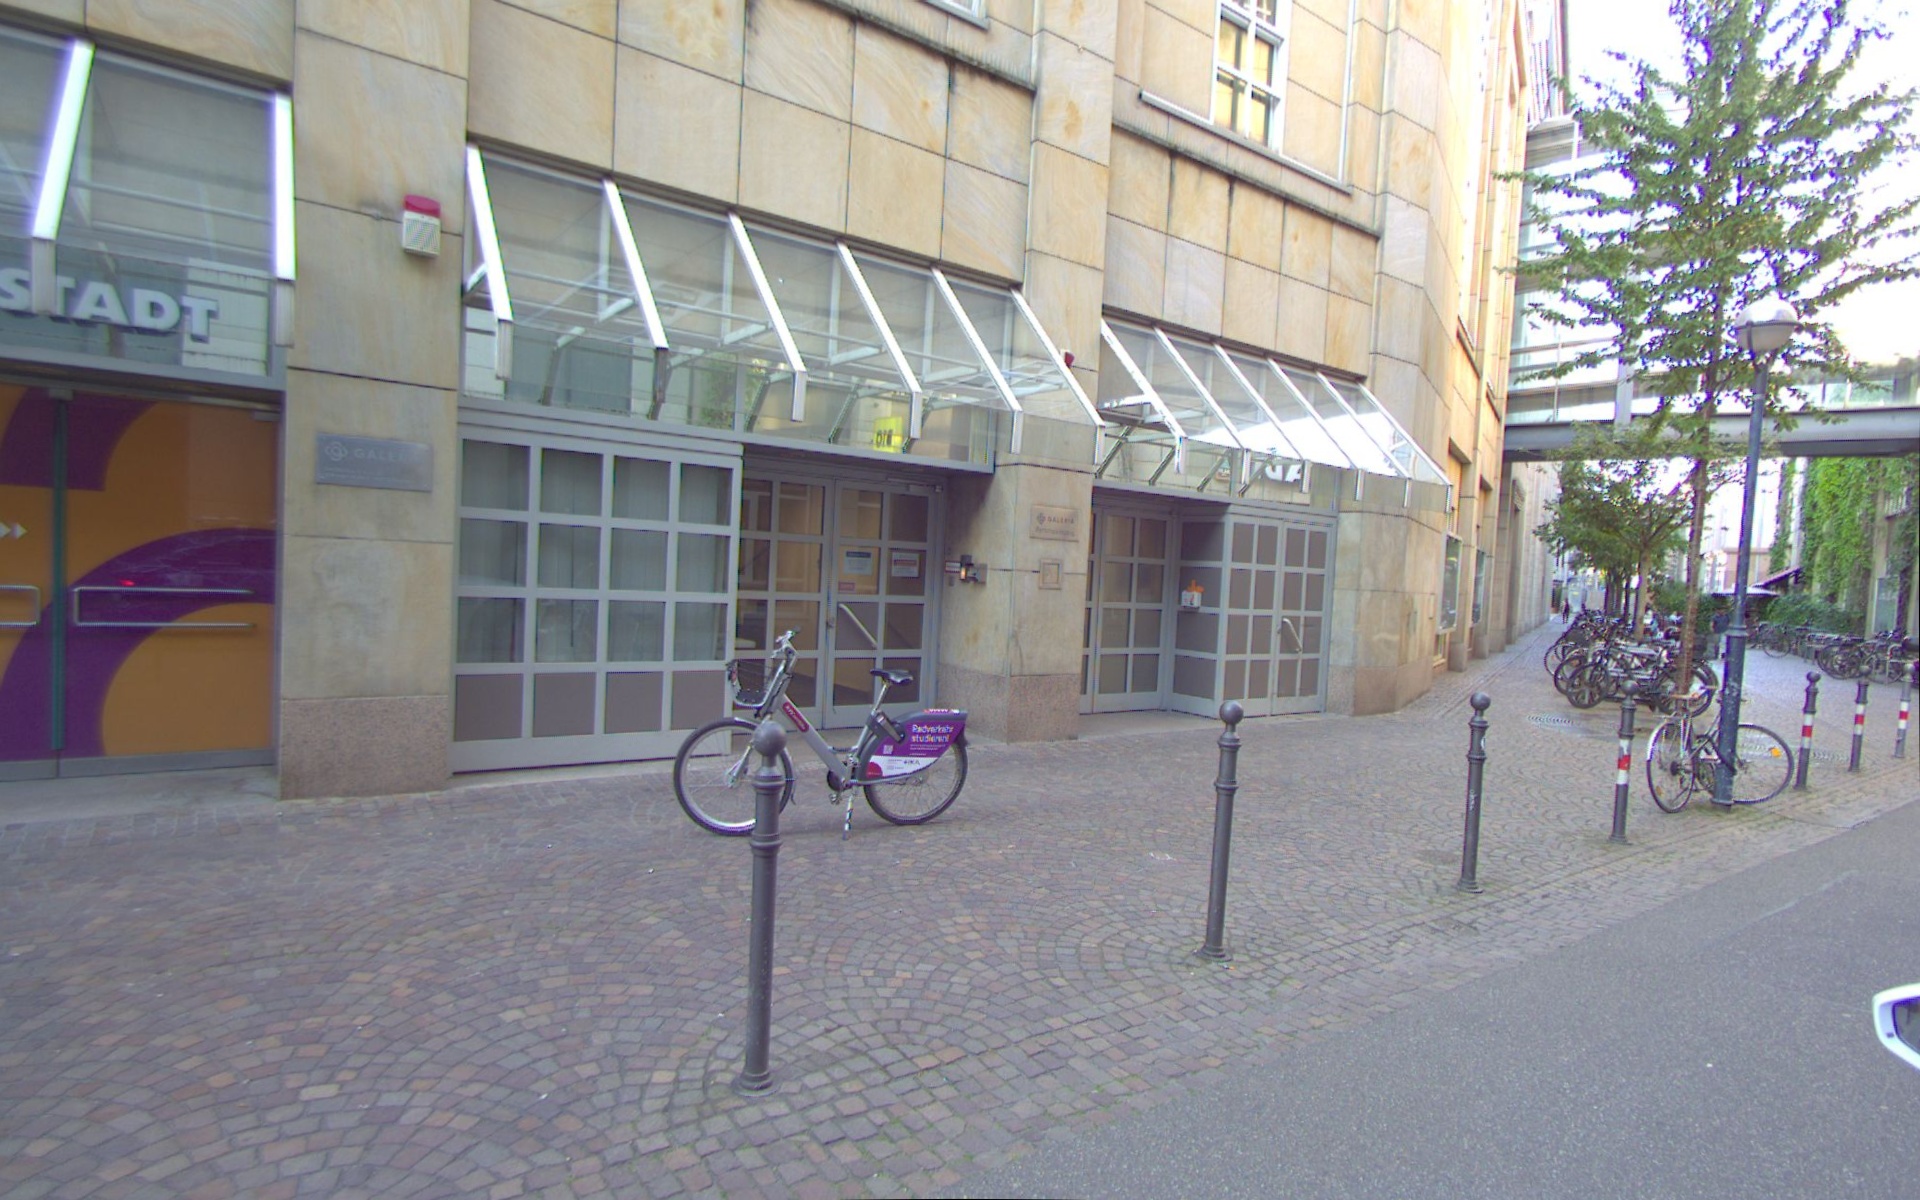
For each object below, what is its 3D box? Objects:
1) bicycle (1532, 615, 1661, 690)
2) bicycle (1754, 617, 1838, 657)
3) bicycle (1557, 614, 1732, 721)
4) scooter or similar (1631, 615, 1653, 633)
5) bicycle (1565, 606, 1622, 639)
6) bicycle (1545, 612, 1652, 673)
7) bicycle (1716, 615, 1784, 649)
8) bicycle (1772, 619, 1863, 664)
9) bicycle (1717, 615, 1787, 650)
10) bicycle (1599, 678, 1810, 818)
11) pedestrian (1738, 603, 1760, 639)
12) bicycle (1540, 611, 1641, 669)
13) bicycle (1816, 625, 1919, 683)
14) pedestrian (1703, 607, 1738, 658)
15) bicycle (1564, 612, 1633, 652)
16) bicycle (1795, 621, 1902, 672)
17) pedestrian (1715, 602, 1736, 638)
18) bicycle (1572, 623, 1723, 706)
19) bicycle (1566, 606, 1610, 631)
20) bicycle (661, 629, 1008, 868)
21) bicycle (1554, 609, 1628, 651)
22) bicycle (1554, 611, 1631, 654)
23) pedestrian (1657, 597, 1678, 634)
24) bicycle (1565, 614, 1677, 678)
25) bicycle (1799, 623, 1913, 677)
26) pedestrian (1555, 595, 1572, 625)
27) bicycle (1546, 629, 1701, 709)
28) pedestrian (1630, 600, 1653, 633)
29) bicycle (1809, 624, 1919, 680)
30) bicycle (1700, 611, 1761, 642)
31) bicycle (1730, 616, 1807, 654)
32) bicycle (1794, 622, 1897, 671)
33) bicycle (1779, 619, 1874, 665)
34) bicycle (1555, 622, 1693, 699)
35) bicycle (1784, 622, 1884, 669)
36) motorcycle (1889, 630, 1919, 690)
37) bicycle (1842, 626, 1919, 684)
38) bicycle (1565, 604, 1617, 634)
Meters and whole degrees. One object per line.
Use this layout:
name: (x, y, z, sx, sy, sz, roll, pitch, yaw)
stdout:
bicycle: (11.606, 0.928, 18.336, 1.889, 1.198, 0.693, 4, 2, 37)
bicycle: (26.590, 1.163, 31.978, 1.967, 1.198, 0.692, 2, 1, 35)
bicycle: (9.406, 0.890, 13.889, 1.887, 1.278, 0.806, 4, 2, 34)
scooter or similar: (35.008, 1.214, 51.561, 0.879, 0.854, 0.909, 3, 2, 32)
bicycle: (26.057, 0.917, 41.341, 1.889, 1.198, 0.693, 4, 2, 37)
bicycle: (14.163, 0.921, 22.309, 1.889, 1.198, 0.693, 4, 2, 37)
bicycle: (30.023, 1.189, 38.202, 1.967, 1.198, 0.692, 2, 1, 35)
bicycle: (25.332, 1.207, 29.718, 1.967, 1.198, 0.692, 2, 1, 35)
bicycle: (29.540, 1.199, 37.497, 1.967, 1.198, 0.692, 2, 1, 35)
bicycle: (5.908, 1.138, 7.967, 1.670, 0.979, 0.504, 2, 2, -22)
pedestrian: (41.072, 1.090, 52.272, 0.764, 1.828, 0.765, 3, 2, 34)
bicycle: (14.660, 0.909, 23.388, 1.889, 1.198, 0.693, 4, 2, 37)
bicycle: (20.887, 1.222, 22.908, 1.967, 1.198, 0.694, 2, 1, 35)
pedestrian: (23.784, 1.016, 31.421, 0.737, 1.529, 0.636, 3, 2, 32)
bicycle: (21.664, 1.064, 34.088, 1.889, 1.198, 0.693, 4, 2, 37)
bicycle: (22.922, 1.186, 25.970, 1.967, 1.198, 0.800, 2, 1, 35)
pedestrian: (40.456, 1.038, 53.069, 0.764, 1.828, 0.765, 3, 2, 34)
bicycle: (10.821, 0.990, 15.879, 1.887, 1.116, 0.694, 4, 2, 34)
bicycle: (33.679, 0.991, 53.896, 1.889, 1.198, 0.693, 4, 2, 37)
bicycle: (-0.693, 0.759, 5.528, 1.750, 1.127, 0.692, 2, 2, -22)
bicycle: (19.909, 0.936, 31.713, 1.889, 1.198, 0.693, 4, 2, 37)
bicycle: (19.477, 0.984, 30.941, 1.889, 1.198, 0.693, 4, 2, 37)
pedestrian: (36.157, 0.775, 51.319, 0.754, 1.828, 0.775, 3, 2, 32)
bicycle: (13.990, 0.944, 21.292, 1.889, 1.198, 0.693, 4, 2, 37)
bicycle: (22.024, 1.203, 24.749, 1.967, 1.198, 0.800, 2, 1, 35)
pedestrian: (38.042, 0.620, 63.325, 0.764, 1.828, 0.632, 3, 2, 34)
bicycle: (10.091, 1.019, 15.334, 1.887, 1.007, 0.694, 4, 2, 34)
pedestrian: (35.505, 0.827, 52.327, 0.879, 1.661, 0.909, 3, 2, 32)
bicycle: (21.388, 1.209, 23.708, 1.967, 1.198, 0.800, 2, 1, 35)
bicycle: (32.486, 1.110, 42.402, 1.967, 1.198, 0.692, 2, 1, 35)
bicycle: (27.347, 1.160, 34.013, 1.967, 1.198, 0.692, 2, 1, 35)
bicycle: (23.553, 1.218, 26.769, 1.967, 1.198, 0.692, 2, 1, 35)
bicycle: (24.740, 1.183, 28.718, 1.967, 1.198, 0.692, 2, 1, 35)
bicycle: (11.335, 1.004, 17.180, 1.889, 1.116, 0.693, 4, 2, 37)
bicycle: (23.995, 1.232, 27.625, 1.967, 1.198, 0.692, 2, 1, 35)
motorcycle: (19.812, 1.234, 20.096, 1.724, 1.171, 0.592, 2, 1, 37)
bicycle: (20.579, 1.202, 21.876, 1.967, 1.198, 0.694, 2, 1, 35)
bicycle: (28.245, 0.850, 44.960, 1.889, 1.198, 0.693, 4, 2, 37)
